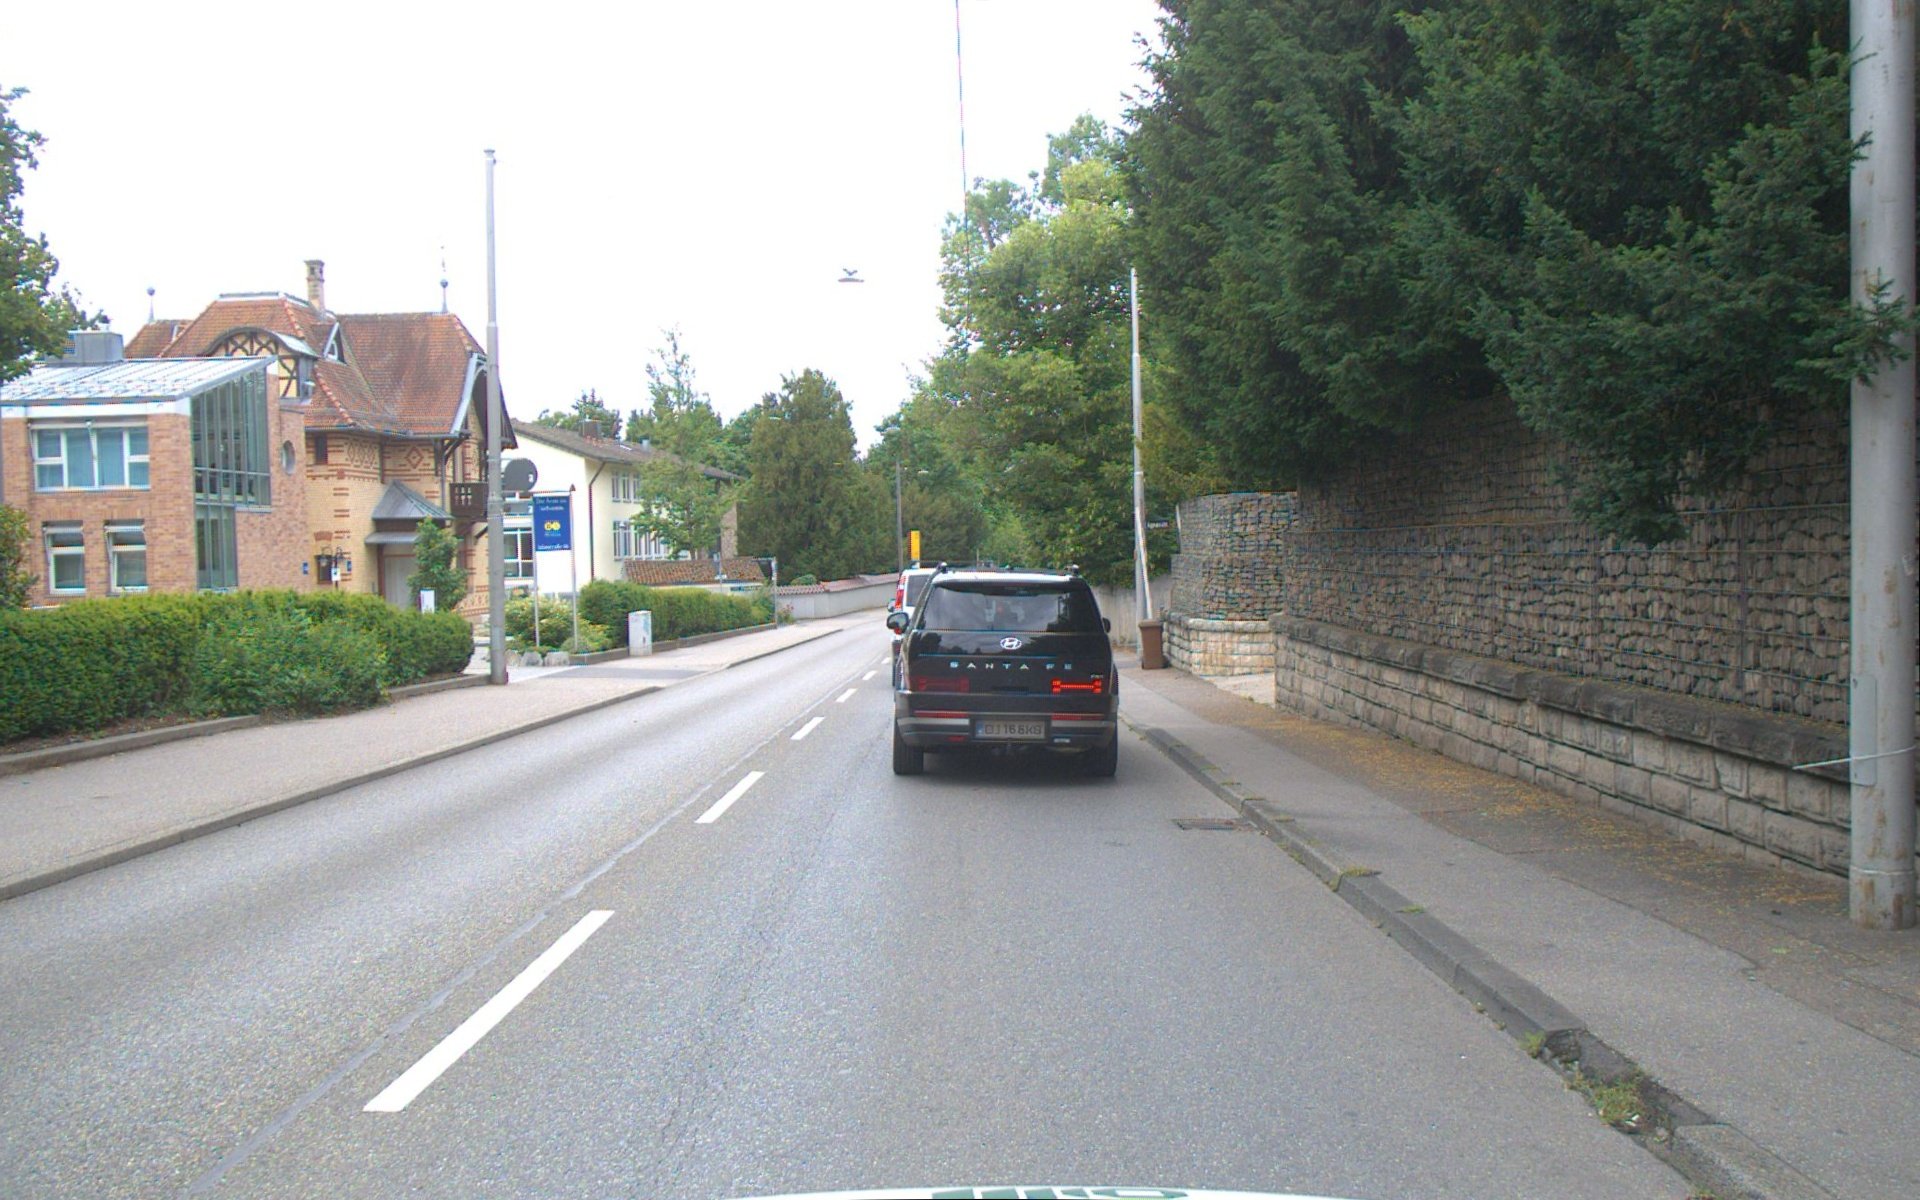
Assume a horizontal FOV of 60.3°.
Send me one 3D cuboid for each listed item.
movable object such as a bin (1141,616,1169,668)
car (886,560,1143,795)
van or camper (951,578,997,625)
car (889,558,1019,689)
[{"bbox_3d":[3.618,0.770,30.695,0.435,0.925,0.394,-4,0,9],"label":"movable object such as a bin"},{"bbox_3d":[0.431,0.571,14.735,1.917,1.742,4.223,1,1,0],"label":"car"},{"bbox_3d":[0.720,0.049,79.744,1.640,2.042,3.942,-1,2,8],"label":"van or camper"},{"bbox_3d":[-0.186,0.356,27.787,1.918,1.990,4.220,-1,0,-3],"label":"car"}]
